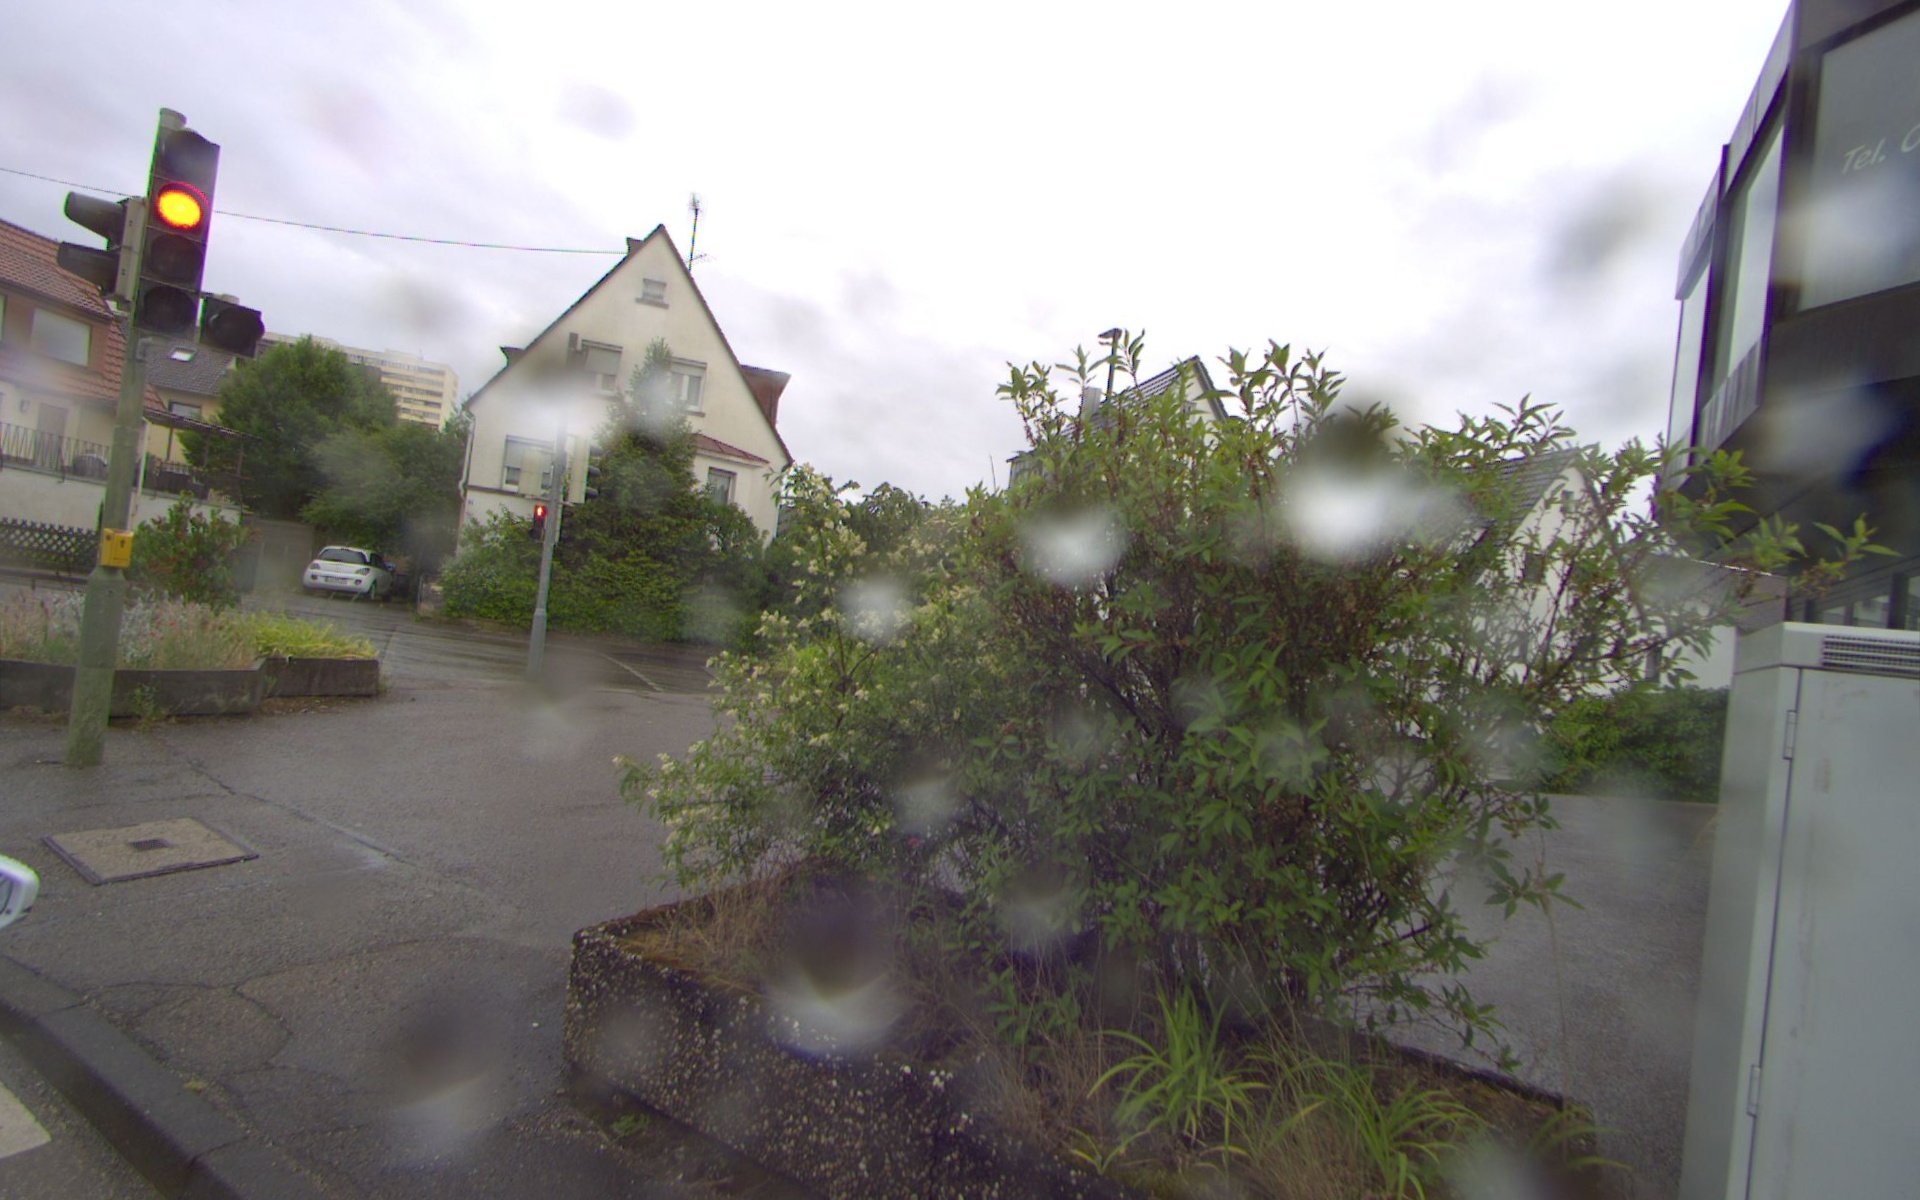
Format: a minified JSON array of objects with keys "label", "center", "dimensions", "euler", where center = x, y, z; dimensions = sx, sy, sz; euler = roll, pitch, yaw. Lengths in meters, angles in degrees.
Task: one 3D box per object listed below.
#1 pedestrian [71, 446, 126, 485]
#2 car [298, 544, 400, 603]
[{"label":"pedestrian","center":[-24.277,-3.795,28.367],"dimensions":[0.623,0.893,0.920],"euler":[5,-2,13]},{"label":"car","center":[-17.761,-0.738,29.416],"dimensions":[1.794,1.378,3.981],"euler":[8,-2,-22]}]
